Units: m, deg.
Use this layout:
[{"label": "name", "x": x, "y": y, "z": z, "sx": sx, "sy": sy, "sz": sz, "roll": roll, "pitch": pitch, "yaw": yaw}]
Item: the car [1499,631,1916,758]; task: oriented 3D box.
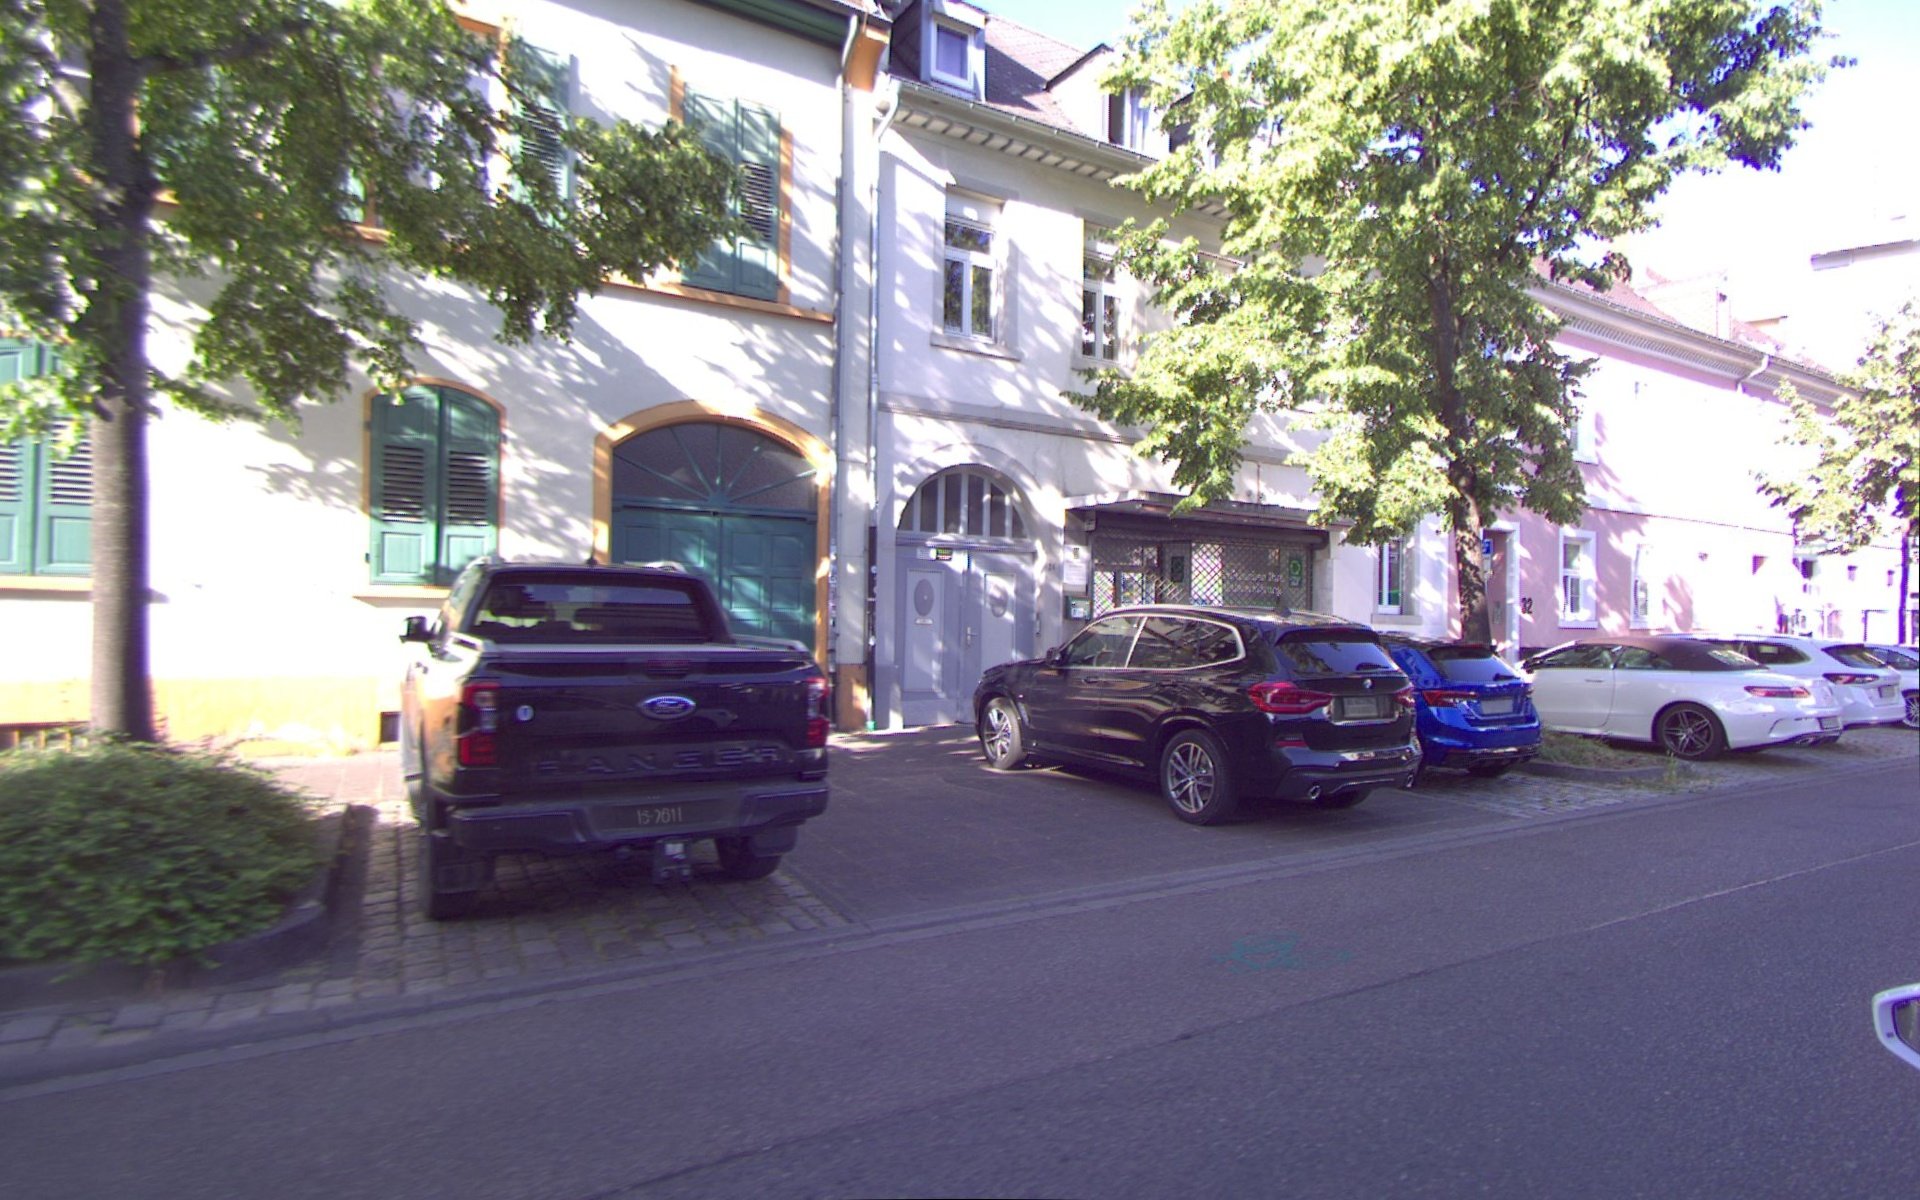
[{"label": "car", "x": 10.784, "y": 1.253, "z": 14.892, "sx": 1.789, "sy": 1.484, "sz": 4.654, "roll": 2, "pitch": -1, "yaw": -33}]

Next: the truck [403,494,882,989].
[{"label": "truck", "x": -2.509, "y": 0.649, "z": 6.696, "sx": 1.977, "sy": 1.964, "sz": 5.061, "roll": 1, "pitch": -2, "yaw": -30}]

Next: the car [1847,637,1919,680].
[{"label": "car", "x": 37.789, "y": 2.300, "z": 39.695, "sx": 3.939, "sy": 1.632, "sz": 1.991, "roll": -2, "pitch": -3, "yaw": 39}]

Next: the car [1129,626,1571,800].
[{"label": "car", "x": 4.088, "y": 1.082, "z": 11.431, "sx": 1.786, "sy": 1.482, "sz": 4.661, "roll": 2, "pitch": -1, "yaw": -28}]

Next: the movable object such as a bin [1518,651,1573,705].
[{"label": "movable object such as a bin", "x": 11.883, "y": 1.570, "z": 20.397, "sx": 0.723, "sy": 1.074, "sz": 0.692, "roll": 1, "pitch": -2, "yaw": -29}]

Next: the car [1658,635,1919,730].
[{"label": "car", "x": 15.322, "y": 1.400, "z": 17.716, "sx": 1.789, "sy": 1.431, "sz": 4.654, "roll": 2, "pitch": -1, "yaw": -33}]

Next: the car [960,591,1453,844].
[{"label": "car", "x": 1.893, "y": 0.842, "z": 9.320, "sx": 1.786, "sy": 1.715, "sz": 4.661, "roll": 2, "pitch": -1, "yaw": -28}]

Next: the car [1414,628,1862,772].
[{"label": "car", "x": 8.719, "y": 1.173, "z": 13.404, "sx": 1.789, "sy": 1.484, "sz": 4.654, "roll": 2, "pitch": -1, "yaw": -33}]
